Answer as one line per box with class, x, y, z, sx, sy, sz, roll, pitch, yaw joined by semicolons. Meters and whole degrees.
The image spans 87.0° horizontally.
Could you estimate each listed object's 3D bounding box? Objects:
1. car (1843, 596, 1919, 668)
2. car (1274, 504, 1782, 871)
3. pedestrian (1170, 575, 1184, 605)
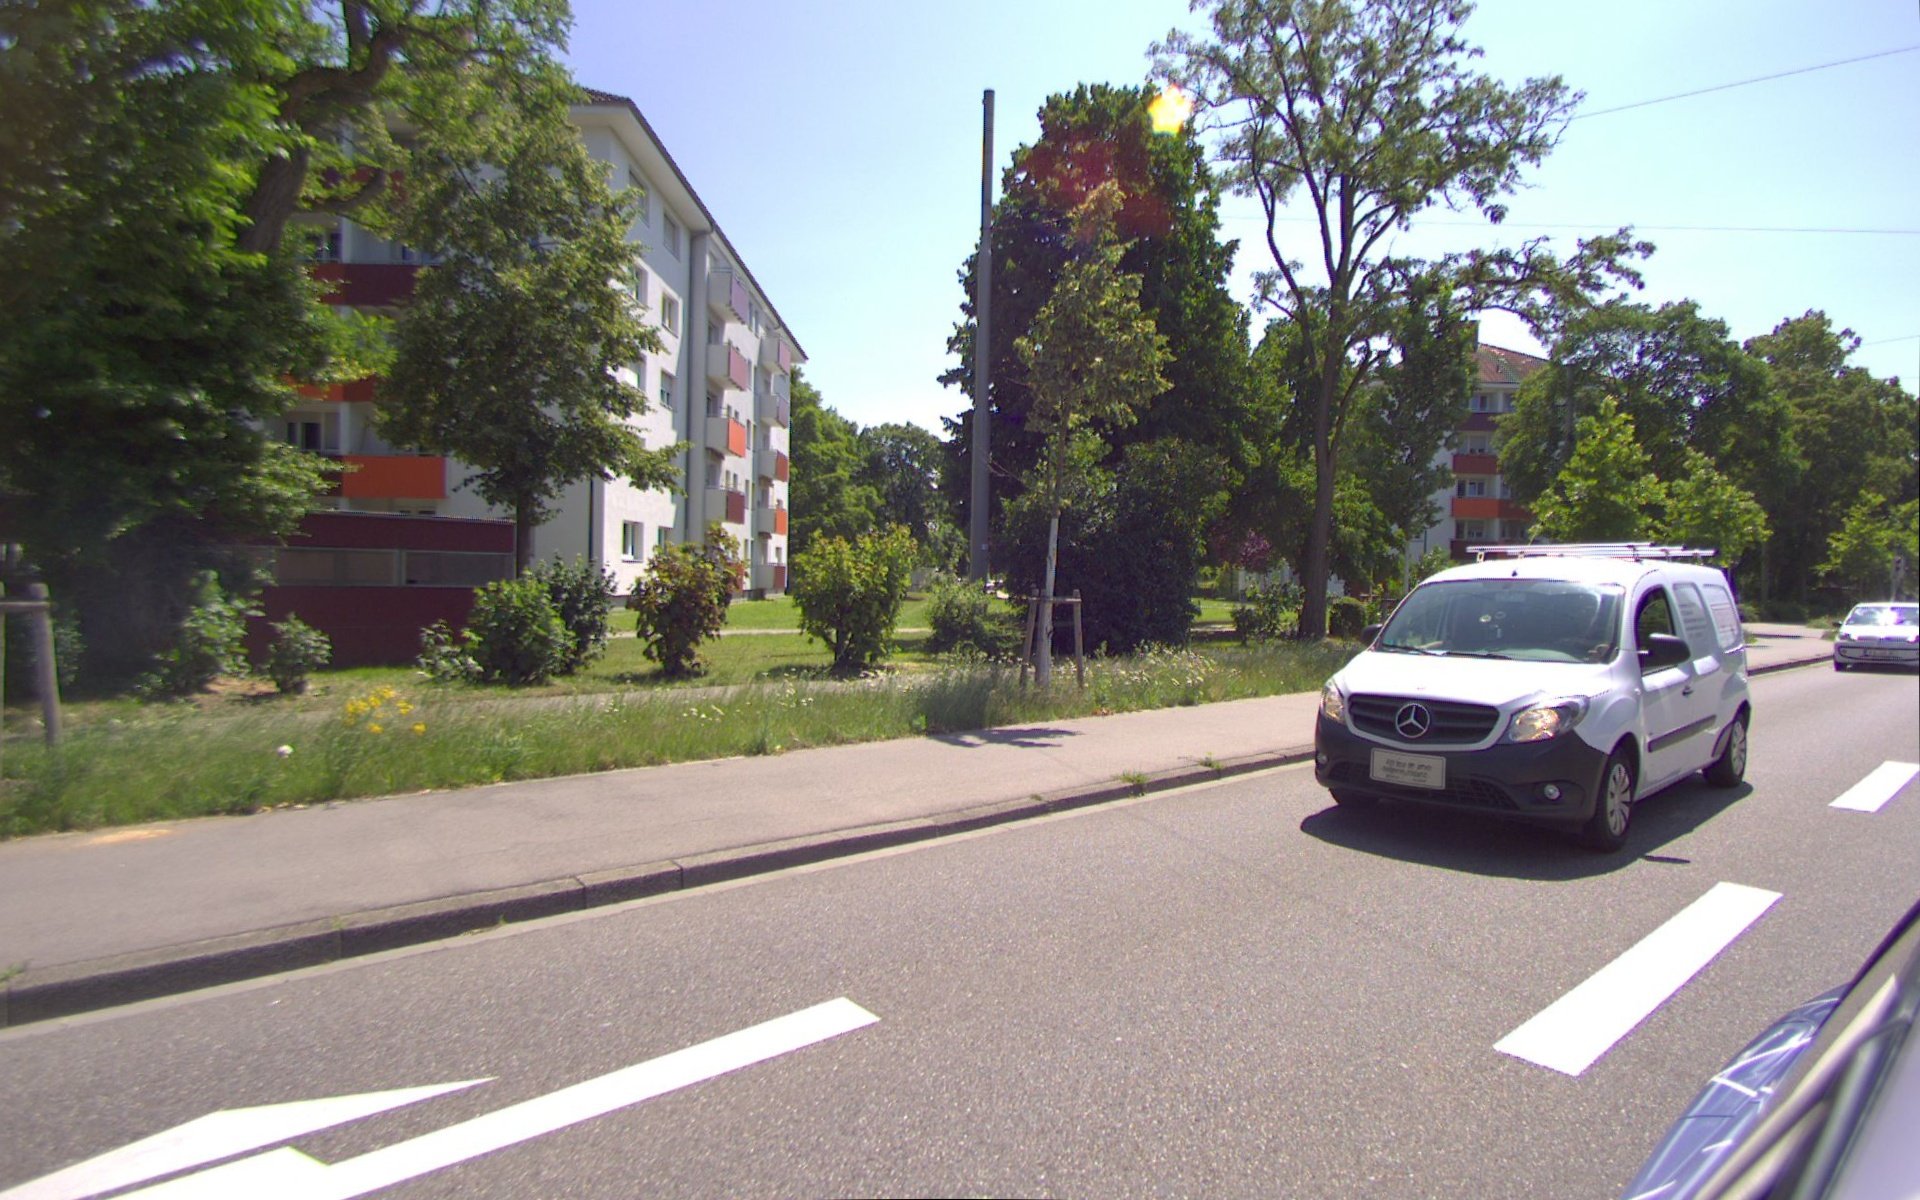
car;20.598;0.650;22.086;3.439;1.459;1.624;0;0;-42
car;4.478;0.439;7.537;4.995;1.879;1.807;0;0;-42
pedestrian;14.615;-0.668;68.078;0.741;1.942;0.889;0;0;0
